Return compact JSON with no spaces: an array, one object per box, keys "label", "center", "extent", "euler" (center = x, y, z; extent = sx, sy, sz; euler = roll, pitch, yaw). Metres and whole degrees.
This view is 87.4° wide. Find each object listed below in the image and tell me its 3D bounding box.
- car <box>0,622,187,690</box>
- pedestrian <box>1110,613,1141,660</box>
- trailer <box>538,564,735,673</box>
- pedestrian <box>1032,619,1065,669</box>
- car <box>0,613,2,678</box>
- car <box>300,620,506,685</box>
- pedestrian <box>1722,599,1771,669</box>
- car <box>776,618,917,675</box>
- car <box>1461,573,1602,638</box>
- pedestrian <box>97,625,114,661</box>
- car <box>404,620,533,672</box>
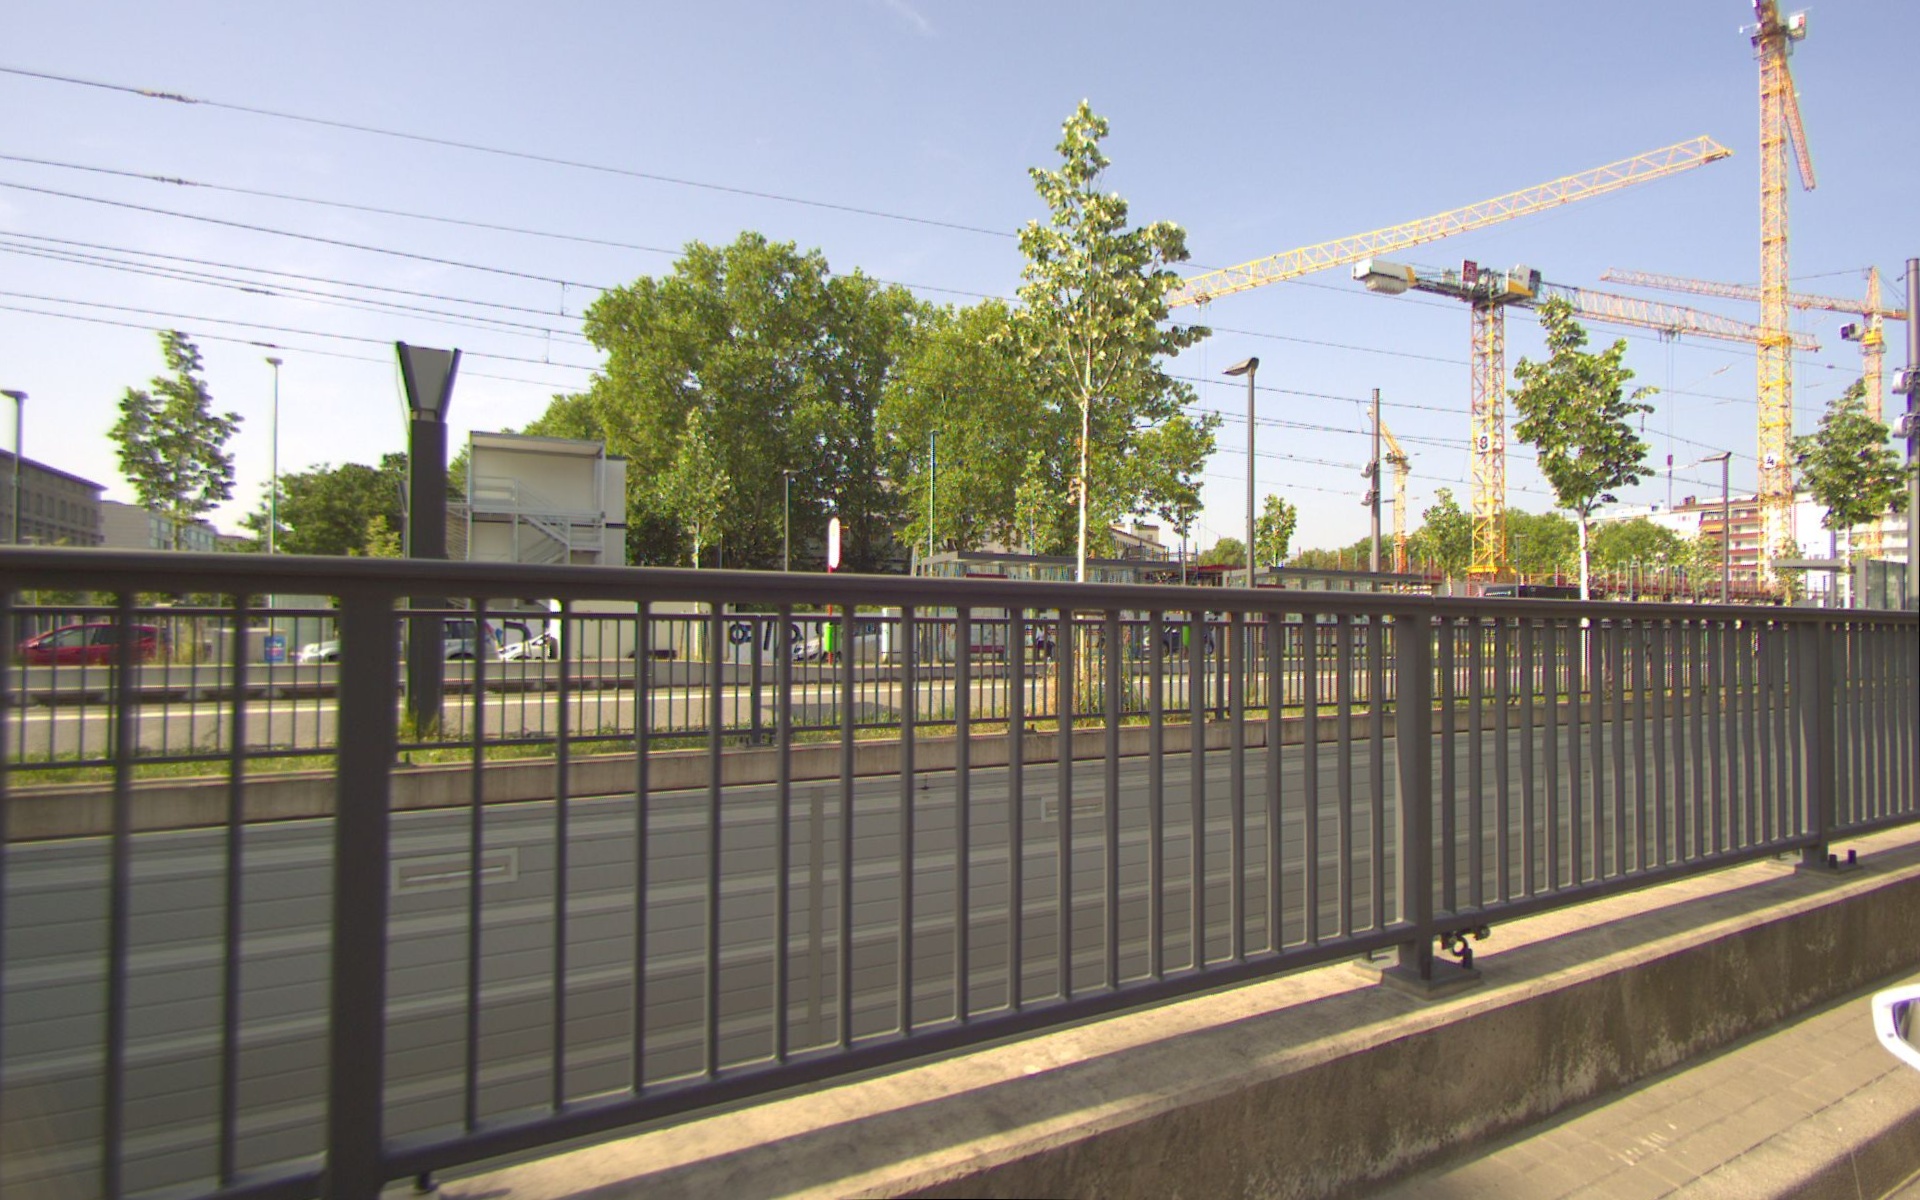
[{"label":"car","center":[-19.395,1.185,22.085],"extent":[3.660,1.379,1.710],"euler":[1,-1,-34]},{"label":"pedestrian","center":[4.729,1.047,28.678],"extent":[0.586,1.317,0.676],"euler":[0,-1,-33]},{"label":"trailer","center":[-9.076,0.517,28.284],"extent":[4.963,2.818,2.034],"euler":[1,0,-31]},{"label":"pedestrian","center":[2.374,1.167,27.025],"extent":[0.586,1.317,0.676],"euler":[0,-1,-33]},{"label":"car","center":[-25.216,1.072,22.931],"extent":[4.569,1.603,1.781],"euler":[1,-1,-35]},{"label":"car","center":[-13.786,1.257,25.015],"extent":[4.353,1.489,1.634],"euler":[1,-1,-31]},{"label":"pedestrian","center":[18.928,0.810,24.180],"extent":[0.702,1.640,0.732],"euler":[1,-1,-30]},{"label":"car","center":[-3.553,1.431,31.716],"extent":[4.101,1.684,1.713],"euler":[1,-1,-30]},{"label":"car","center":[33.301,0.389,58.362],"extent":[9.126,3.559,3.039],"euler":[1,-1,-31]},{"label":"pedestrian","center":[-41.266,2.084,48.518],"extent":[0.534,1.731,0.589],"euler":[1,-1,-31]},{"label":"car","center":[-14.766,1.356,30.180],"extent":[3.393,1.483,1.589],"euler":[1,-1,-30]}]
